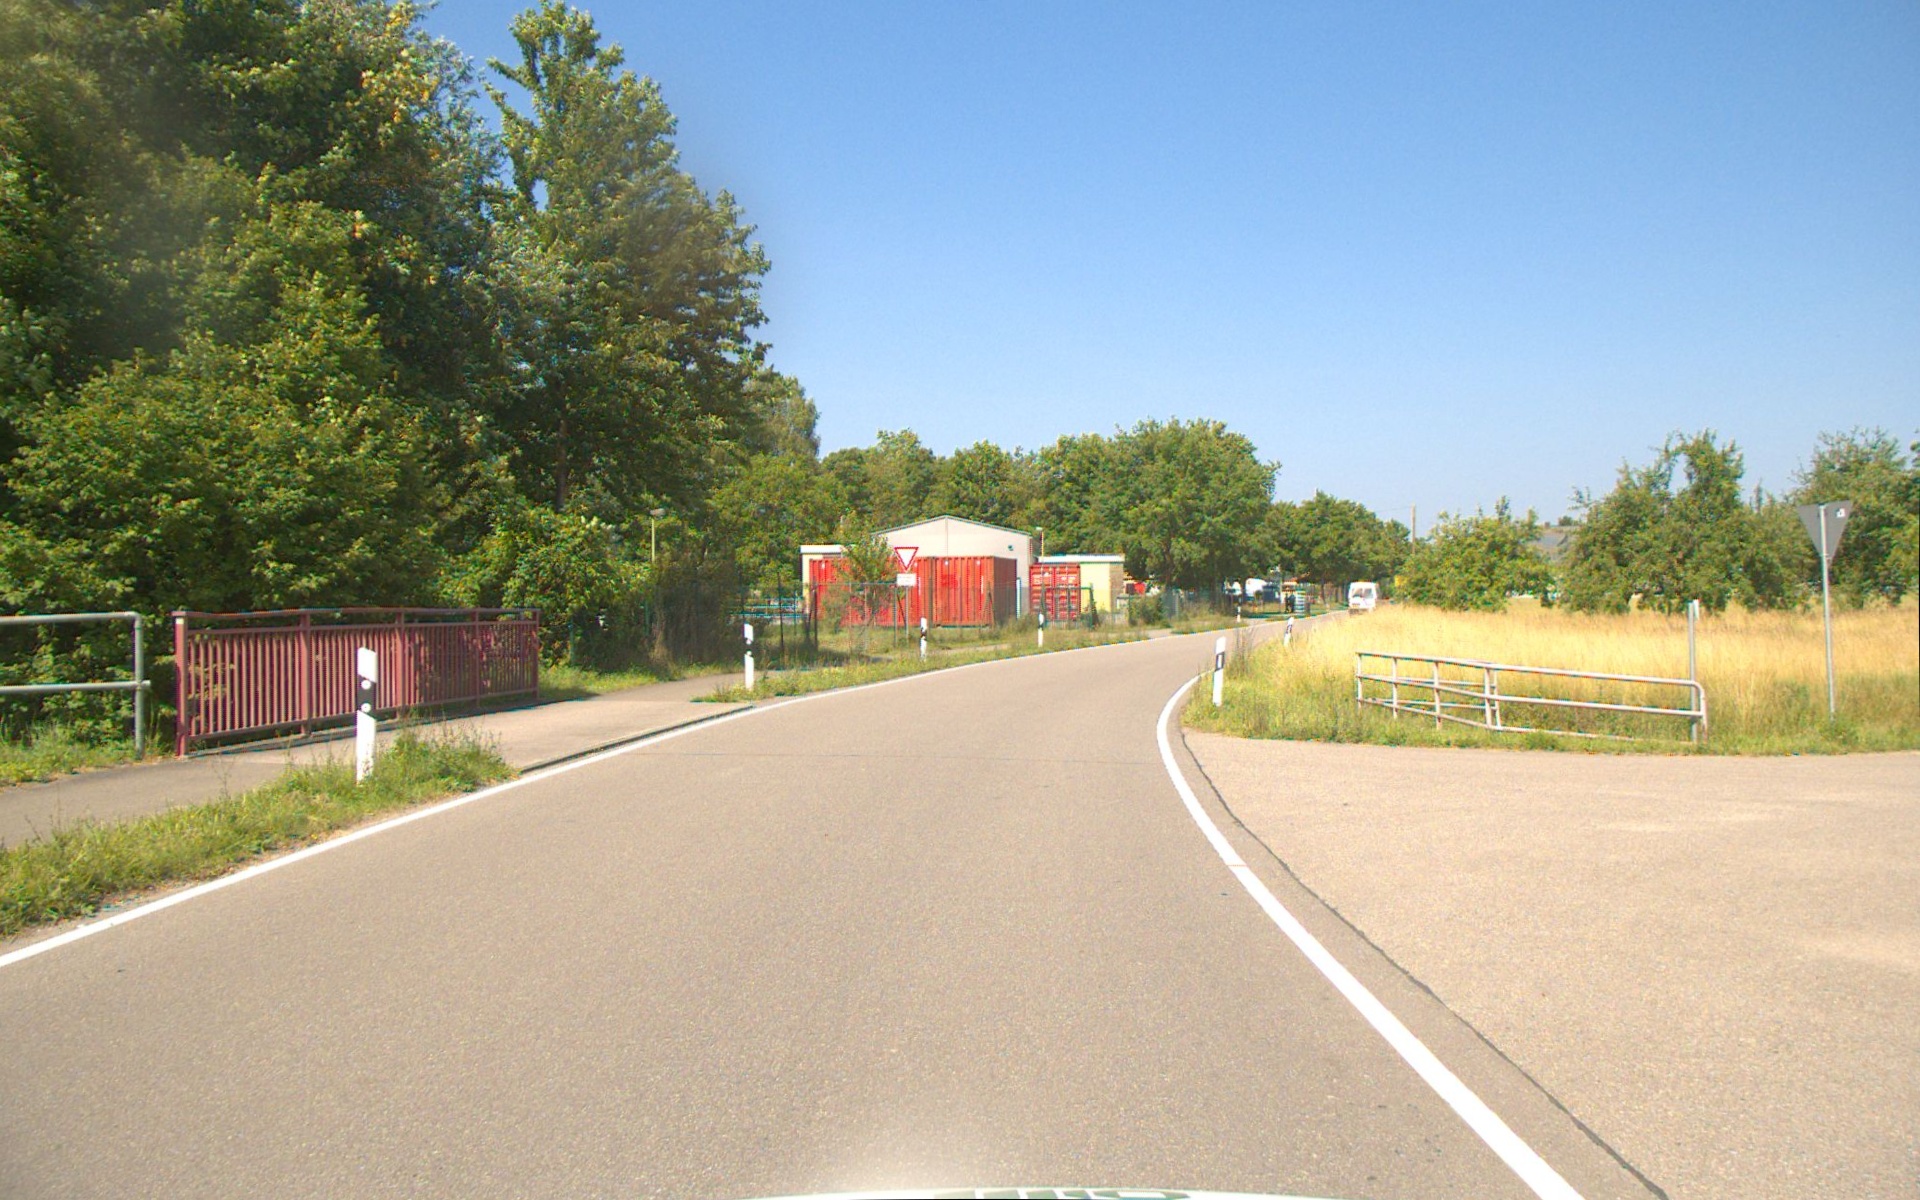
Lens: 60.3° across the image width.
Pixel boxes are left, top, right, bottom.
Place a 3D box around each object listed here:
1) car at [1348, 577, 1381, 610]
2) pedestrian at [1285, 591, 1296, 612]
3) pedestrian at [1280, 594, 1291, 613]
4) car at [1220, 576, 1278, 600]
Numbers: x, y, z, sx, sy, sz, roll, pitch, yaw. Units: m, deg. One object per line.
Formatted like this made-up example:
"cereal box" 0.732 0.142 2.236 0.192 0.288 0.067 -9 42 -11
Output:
"car" 29.061 -0.485 118.826 1.952 2.306 4.728 -1 0 18
"pedestrian" 28.598 0.143 143.133 0.709 1.834 0.706 -1 0 41
"pedestrian" 28.063 0.276 142.623 0.666 1.593 0.715 -1 0 41
"car" 28.976 -1.245 165.631 5.514 2.306 1.988 -1 0 -21
